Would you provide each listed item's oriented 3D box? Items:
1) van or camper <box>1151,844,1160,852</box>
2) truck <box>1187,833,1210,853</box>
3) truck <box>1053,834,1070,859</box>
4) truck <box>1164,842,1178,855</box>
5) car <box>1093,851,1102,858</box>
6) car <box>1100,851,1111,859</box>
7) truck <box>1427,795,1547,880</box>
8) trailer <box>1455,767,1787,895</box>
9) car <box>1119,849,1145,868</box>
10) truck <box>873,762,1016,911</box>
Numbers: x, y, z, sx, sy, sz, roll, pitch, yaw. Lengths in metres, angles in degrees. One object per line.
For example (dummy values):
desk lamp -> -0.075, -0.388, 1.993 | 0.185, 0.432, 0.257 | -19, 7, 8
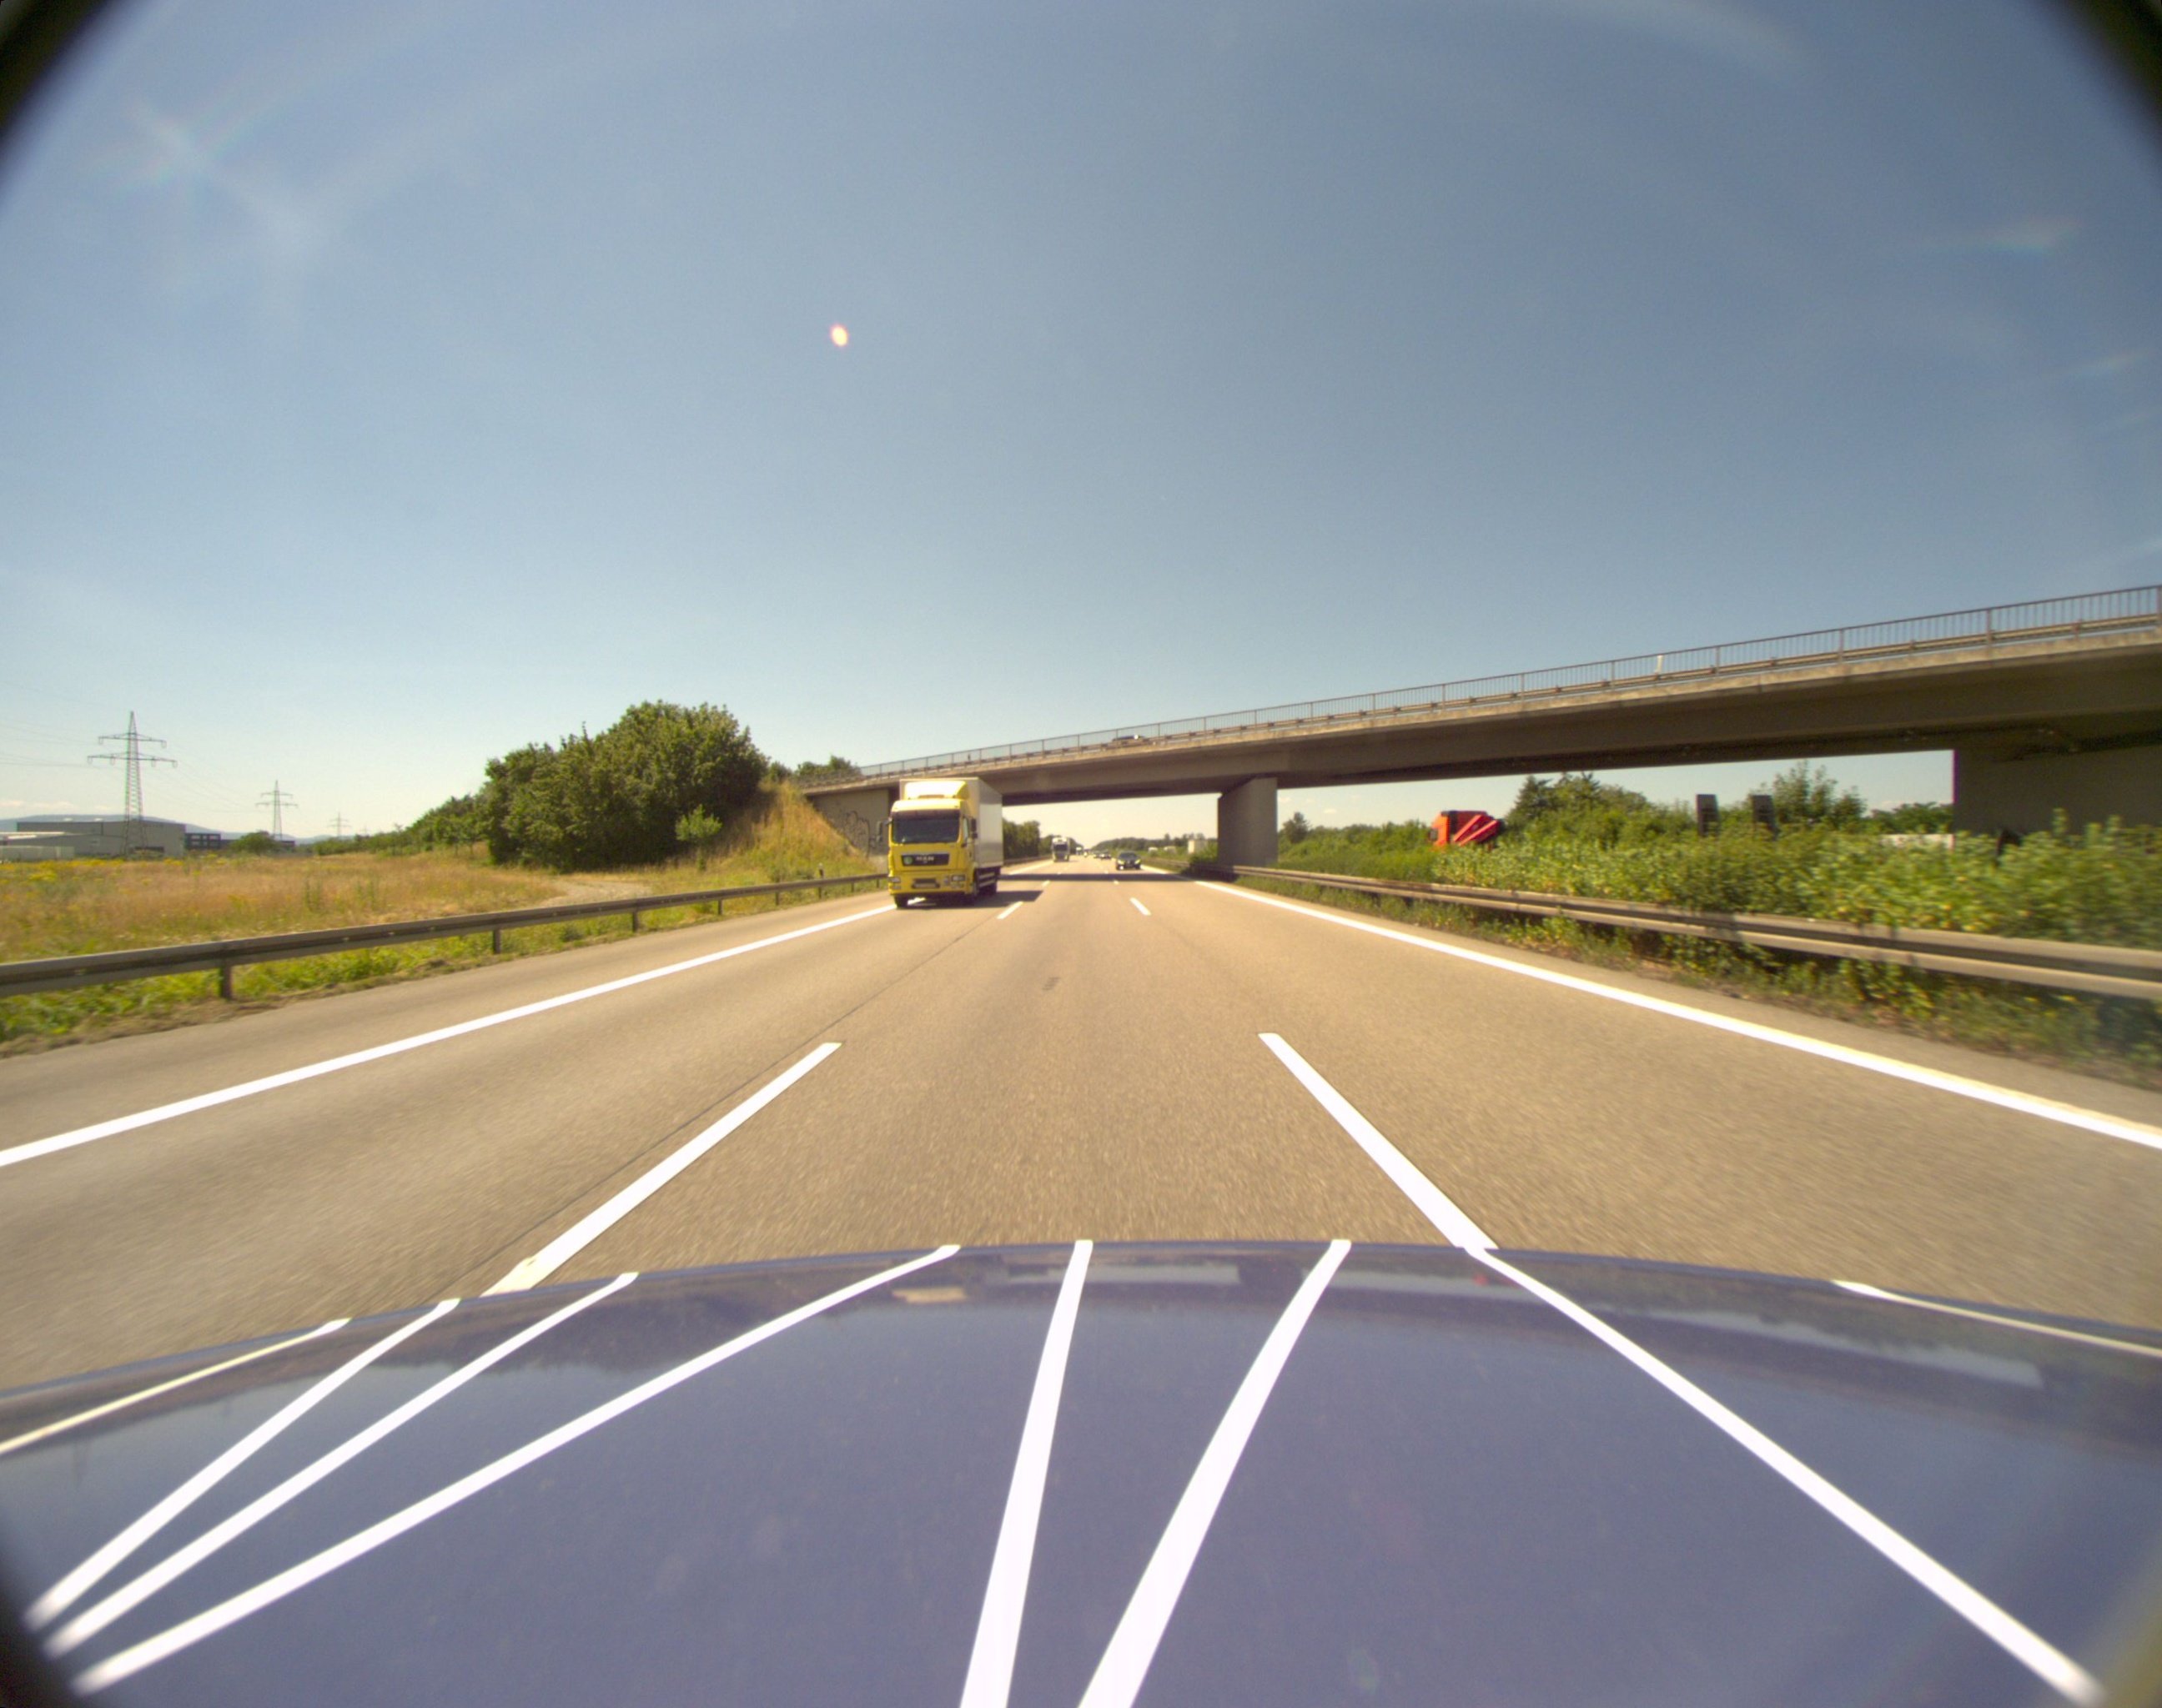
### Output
van or camper -> 23.268, -1.935, 236.907 | 1.998, 2.530, 6.298 | -2, 0, 0
truck -> 22.138, -2.066, 144.173 | 2.884, 3.477, 10.735 | -2, 0, 1
truck -> -3.236, -1.251, 127.430 | 2.476, 4.038, 6.319 | -2, 1, 1
truck -> 17.439, -1.125, 147.999 | 1.998, 2.385, 6.419 | -2, 0, 2
car -> 3.740, 0.074, 172.961 | 1.811, 1.417, 4.000 | -2, 0, 1
car -> 4.398, 0.189, 135.073 | 1.811, 1.417, 4.000 | -2, 0, 1
truck -> 20.588, -0.806, 38.992 | 2.618, 3.875, 6.499 | -2, 0, 0
trailer -> 20.530, -0.761, 31.293 | 2.618, 3.861, 15.581 | -2, 0, 0
car -> 4.024, 0.337, 60.731 | 1.811, 1.459, 4.000 | -2, 0, 1
truck -> -4.380, -0.524, 27.235 | 2.941, 4.175, 10.680 | -2, 0, 0
